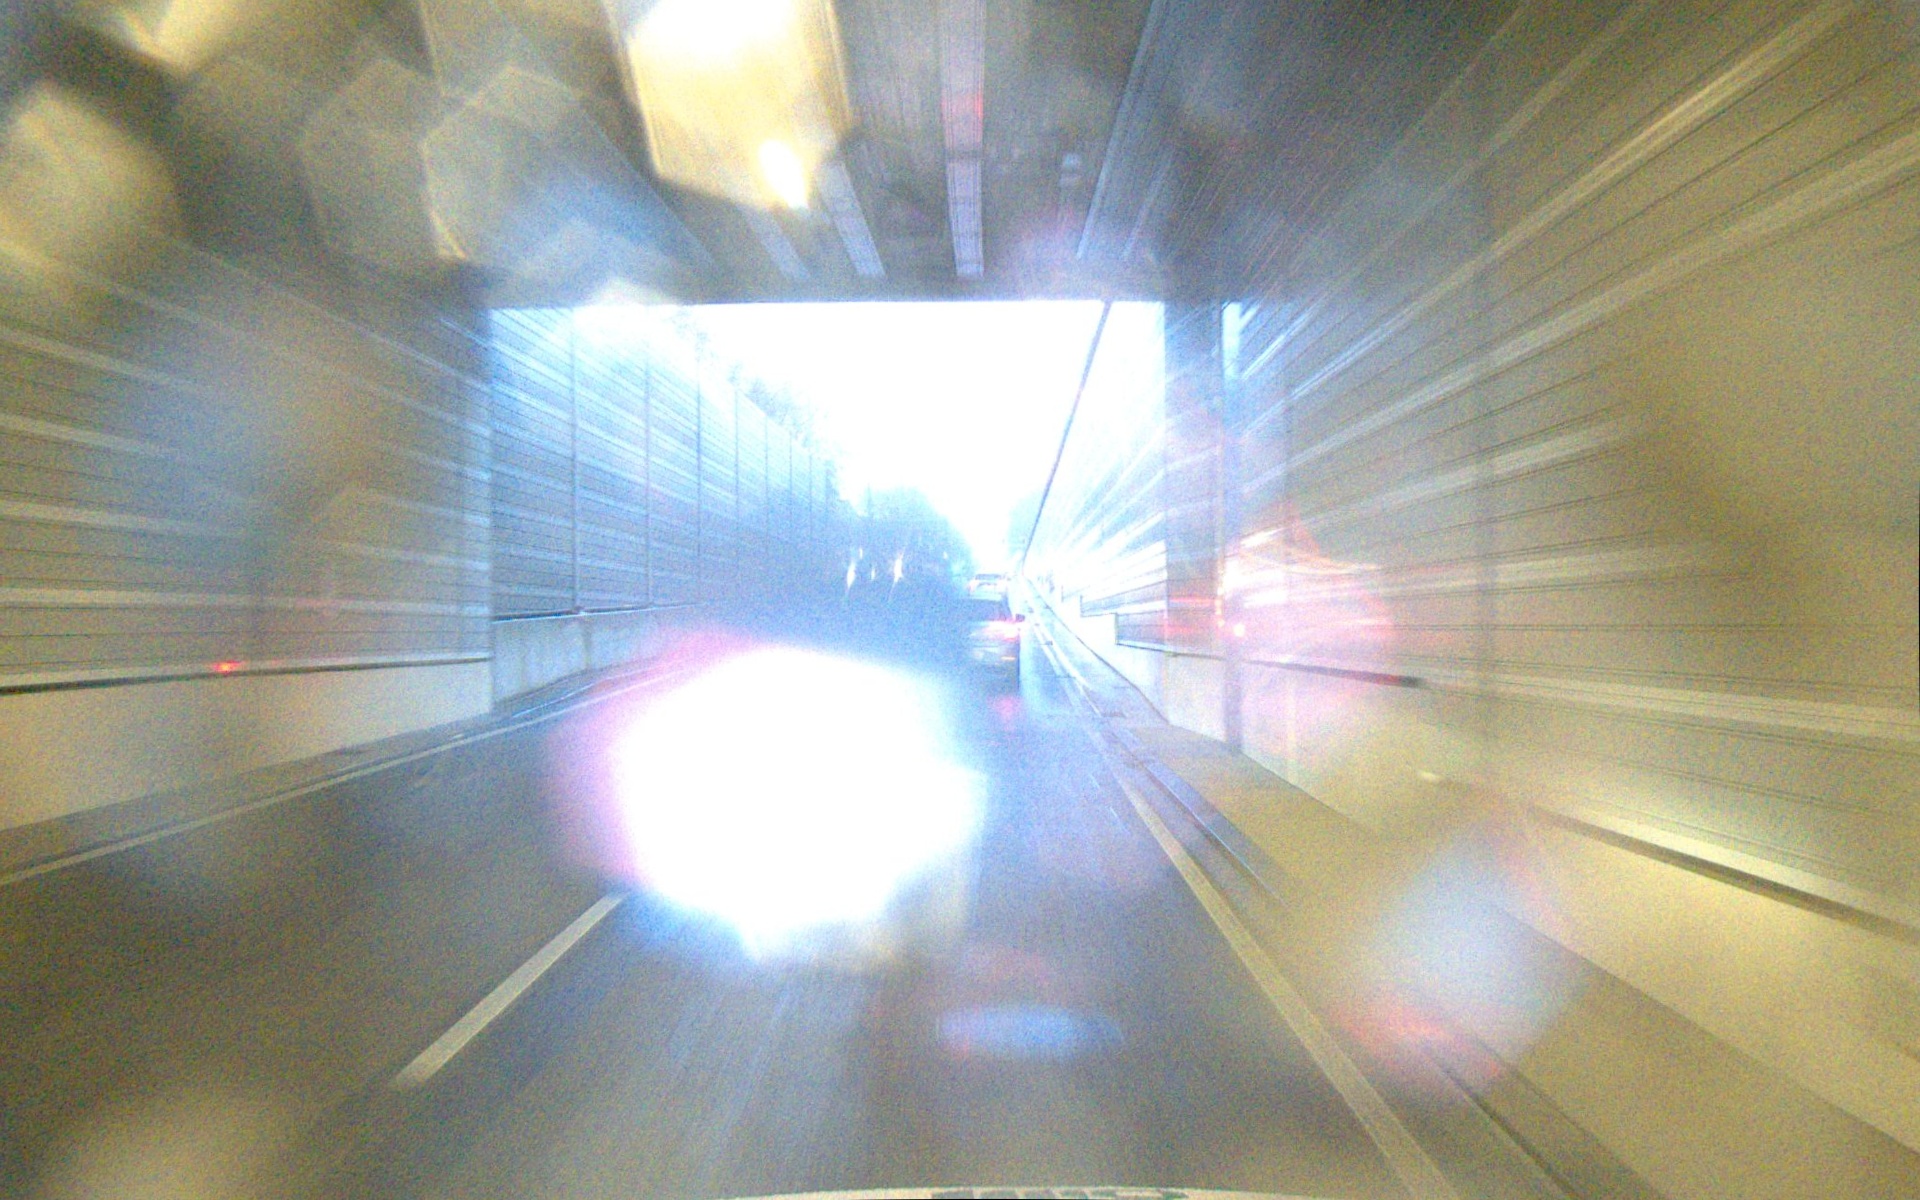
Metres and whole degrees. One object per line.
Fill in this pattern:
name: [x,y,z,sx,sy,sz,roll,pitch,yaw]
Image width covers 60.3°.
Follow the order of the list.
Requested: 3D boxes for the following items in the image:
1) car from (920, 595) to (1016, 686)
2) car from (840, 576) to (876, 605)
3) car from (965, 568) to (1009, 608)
car: [0.161,0.643,27.838,1.500,1.422,3.434,1,0,1]
car: [-6.436,-0.589,104.628,1.841,1.649,4.000,1,-1,2]
car: [1.211,-0.500,74.679,1.842,1.649,3.999,1,-1,-1]
